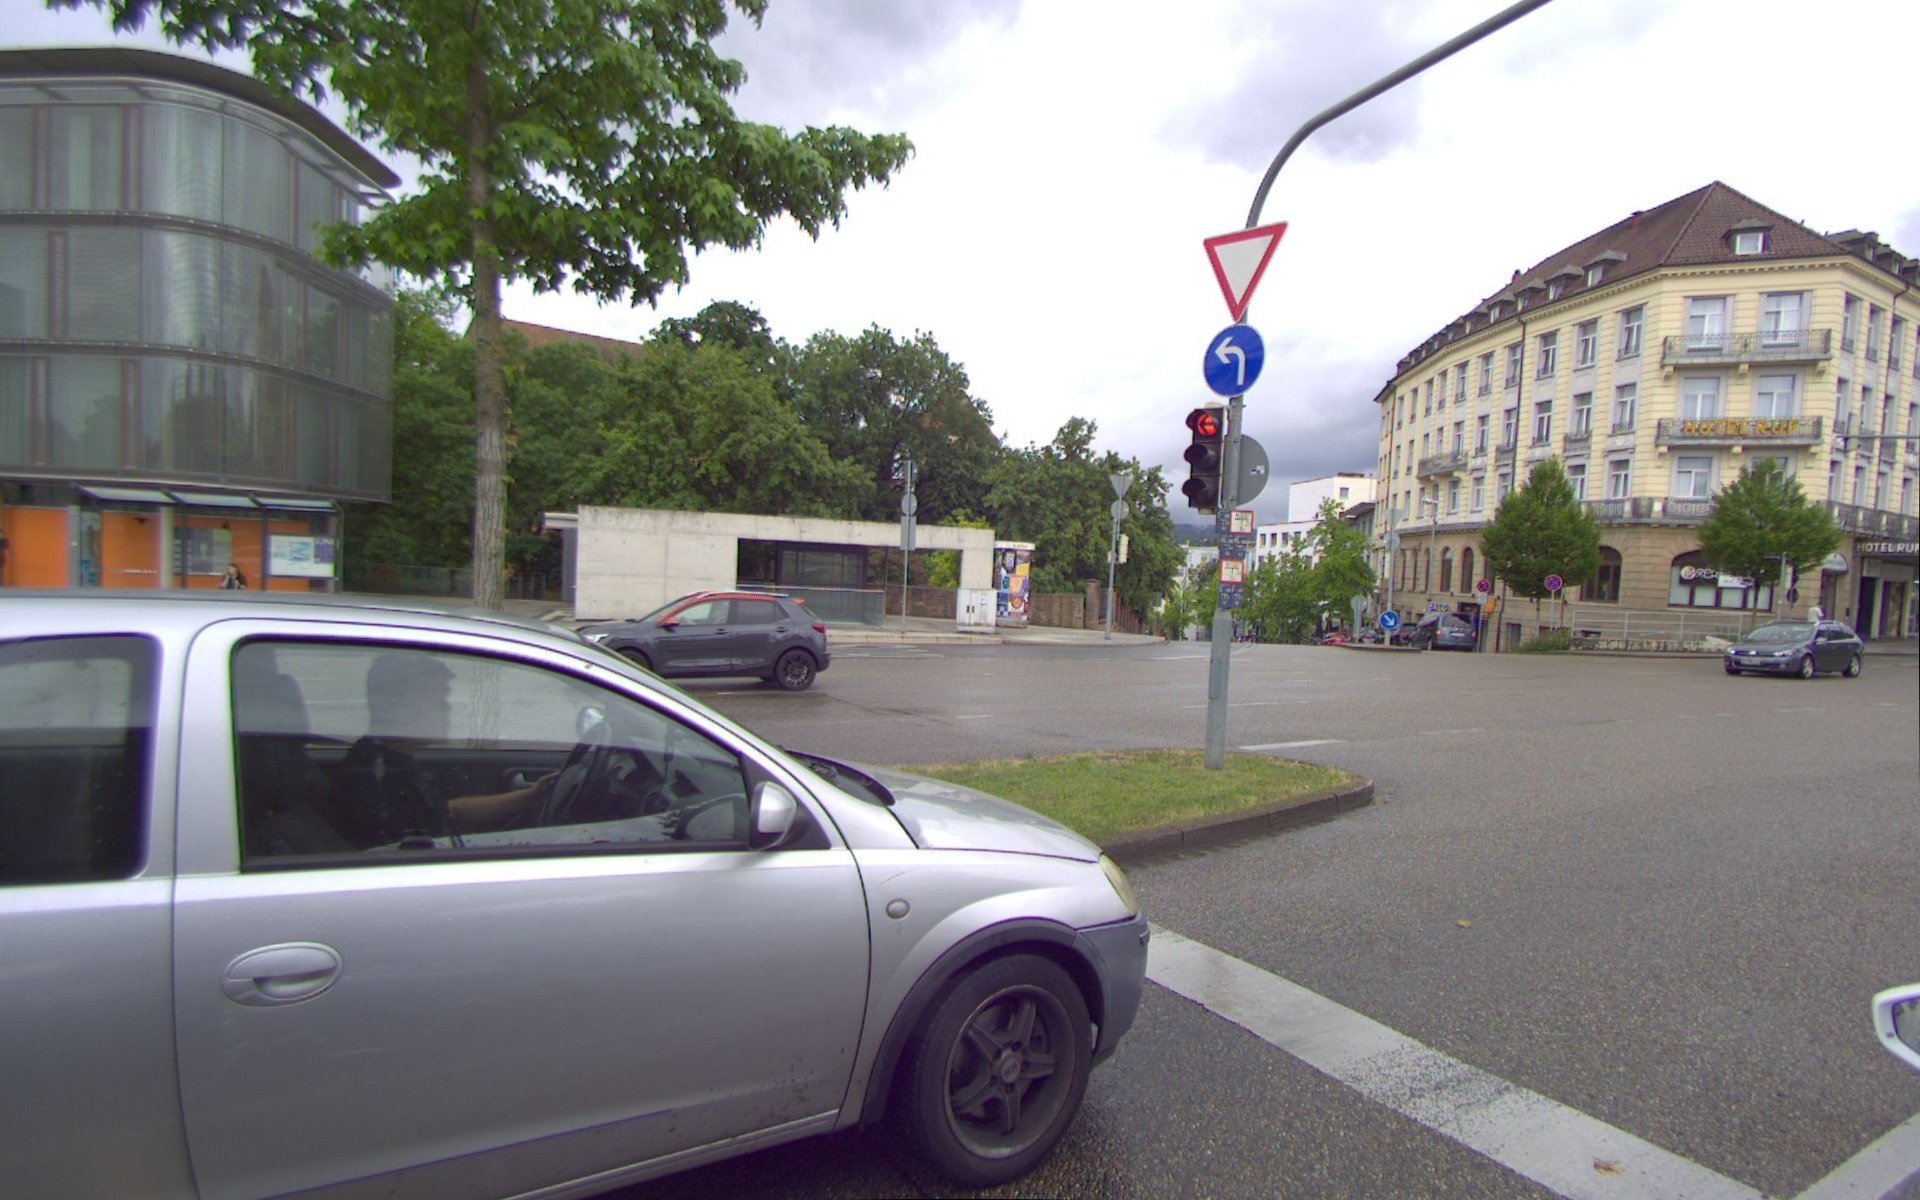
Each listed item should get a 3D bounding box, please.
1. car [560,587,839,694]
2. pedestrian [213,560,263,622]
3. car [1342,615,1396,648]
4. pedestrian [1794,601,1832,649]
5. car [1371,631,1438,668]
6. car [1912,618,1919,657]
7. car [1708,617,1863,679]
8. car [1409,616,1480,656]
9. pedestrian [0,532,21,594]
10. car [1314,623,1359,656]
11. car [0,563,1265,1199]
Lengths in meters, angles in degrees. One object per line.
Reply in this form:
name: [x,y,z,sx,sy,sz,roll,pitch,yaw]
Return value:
car: [-4.073,0.610,15.780,3.974,1.496,1.625,2,1,-27]
pedestrian: [-16.083,-0.198,22.382,0.780,1.341,0.798,1,1,-28]
car: [23.162,1.772,56.997,1.757,1.662,3.916,2,1,6]
pedestrian: [34.843,1.010,41.038,1.010,1.903,0.859,1,1,-30]
car: [22.790,2.493,51.647,1.959,1.662,4.002,2,0,6]
car: [36.653,1.395,36.445,4.006,1.387,1.749,1,1,-26]
car: [21.920,1.225,26.662,4.008,1.460,1.748,1,1,-28]
car: [21.735,1.575,45.191,1.764,1.589,4.002,2,1,9]
pedestrian: [-26.180,-1.009,27.236,0.834,1.675,0.708,2,1,13]
car: [23.585,2.477,63.051,1.741,1.836,3.624,2,1,7]
car: [-1.151,0.688,2.542,3.693,1.478,1.614,2,1,-32]
